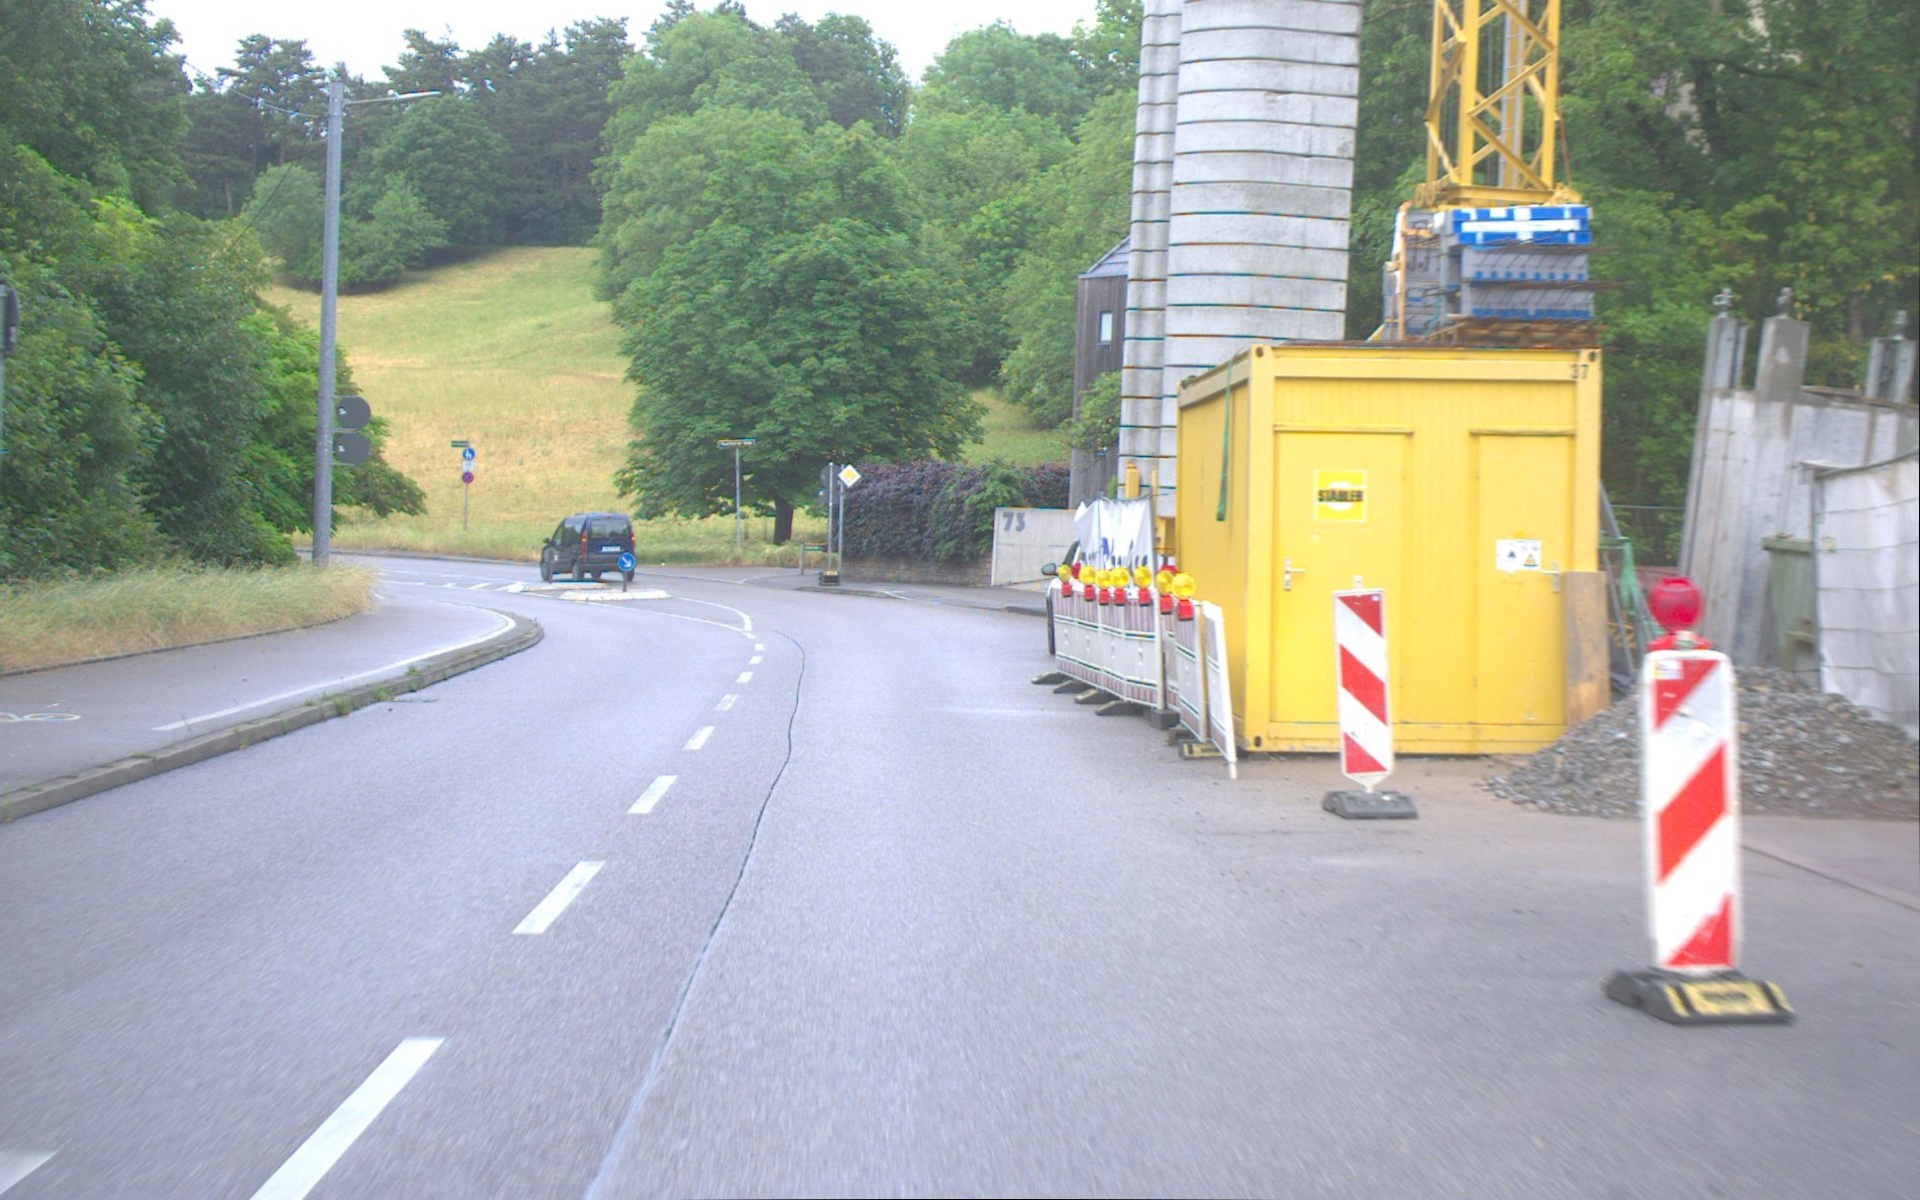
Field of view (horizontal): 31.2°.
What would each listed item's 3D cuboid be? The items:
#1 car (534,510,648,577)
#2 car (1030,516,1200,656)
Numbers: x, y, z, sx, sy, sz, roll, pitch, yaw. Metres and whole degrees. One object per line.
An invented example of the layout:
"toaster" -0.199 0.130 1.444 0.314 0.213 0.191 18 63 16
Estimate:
"car" -10.034 -1.539 93.247 1.931 1.745 4.001 0 1 -23
"car" 1.946 -0.220 44.261 1.745 1.700 4.502 0 1 -3
